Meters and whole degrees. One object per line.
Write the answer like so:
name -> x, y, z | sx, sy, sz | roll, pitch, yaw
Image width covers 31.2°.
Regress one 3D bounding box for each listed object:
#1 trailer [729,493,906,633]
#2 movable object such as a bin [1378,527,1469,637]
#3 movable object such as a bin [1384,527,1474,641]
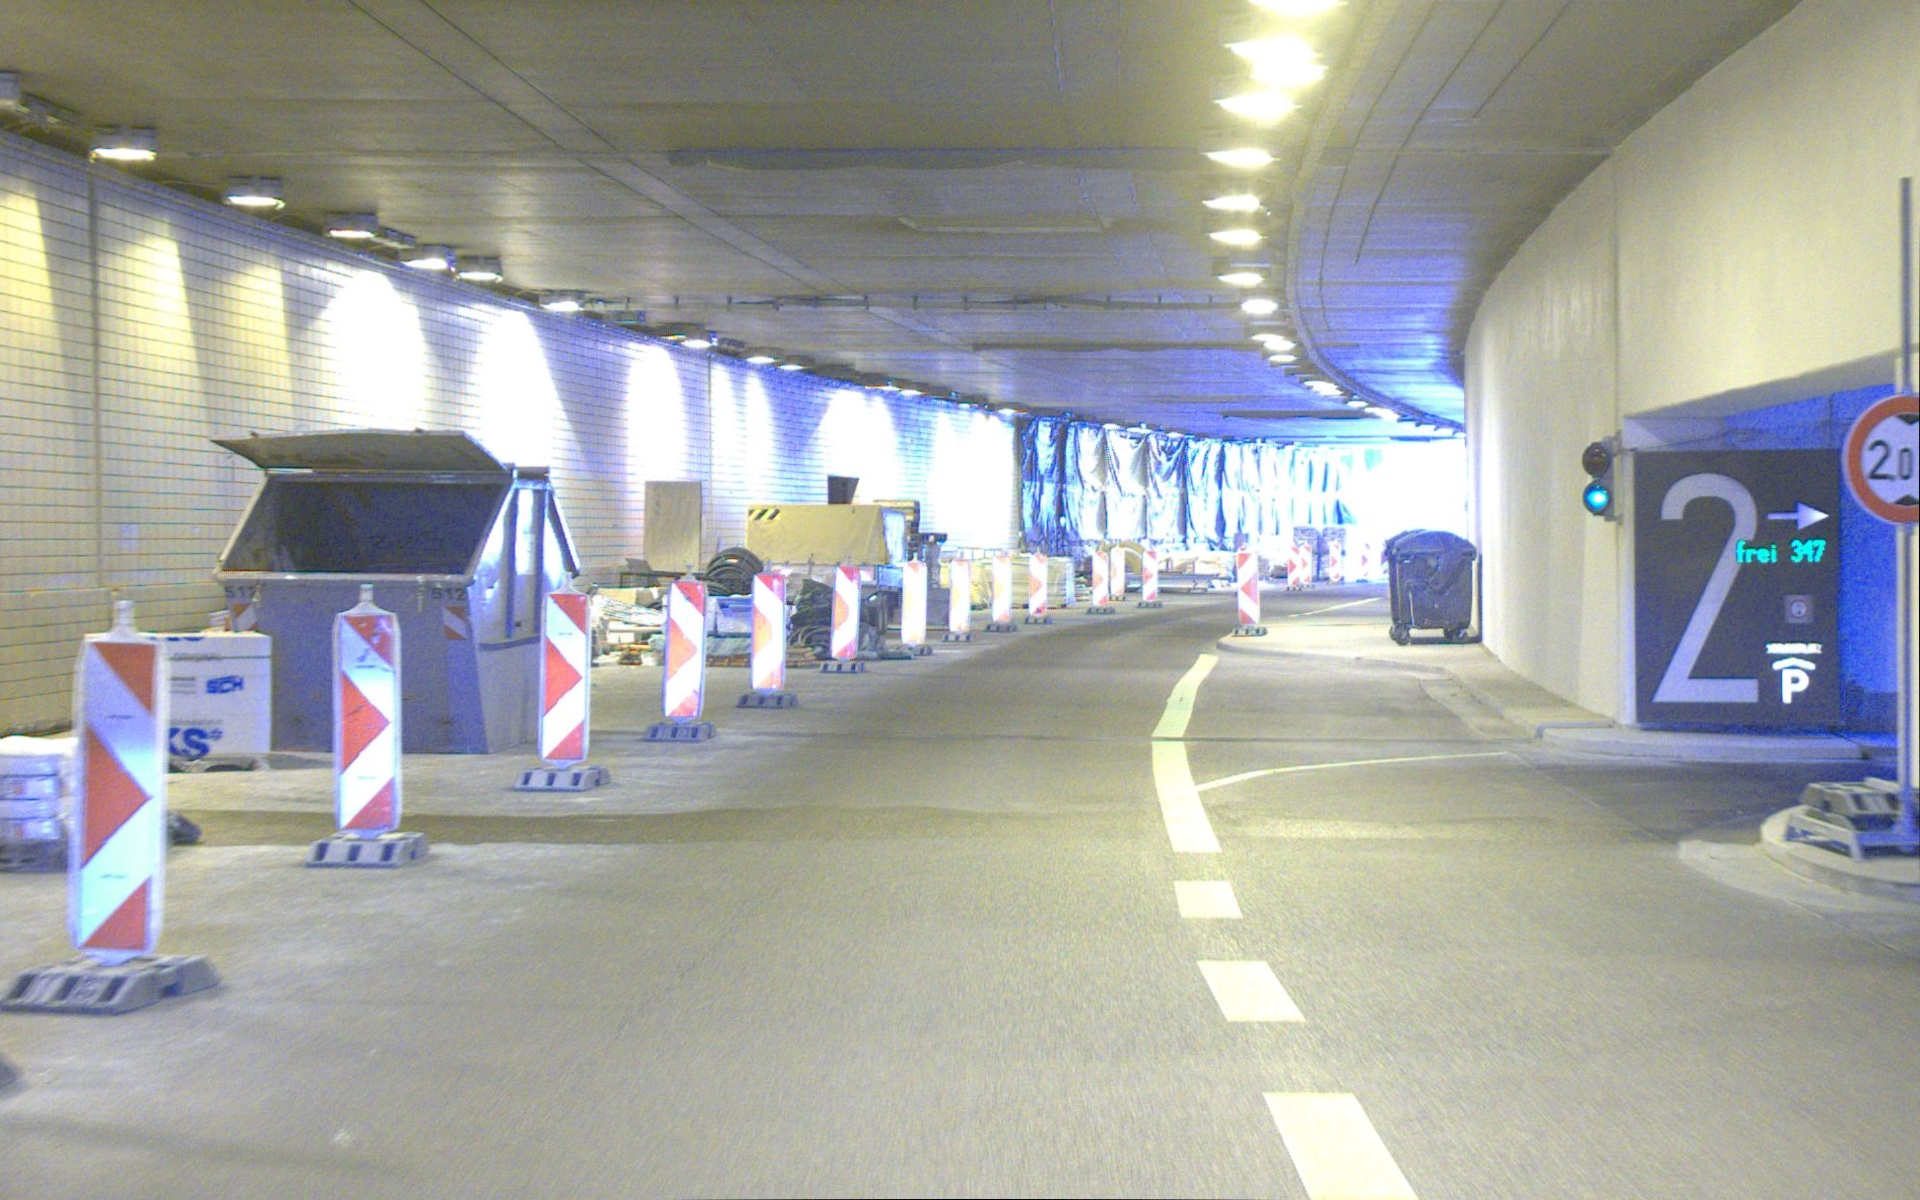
trailer -> -2.091, -0.556, 51.399 | 2.208, 2.007, 3.466 | 1, 1, 5
movable object such as a bin -> 6.137, -0.243, 45.634 | 1.146, 1.440, 1.363 | 1, 1, 6
movable object such as a bin -> 6.027, -0.208, 44.228 | 1.098, 1.440, 1.322 | 1, 1, 6
